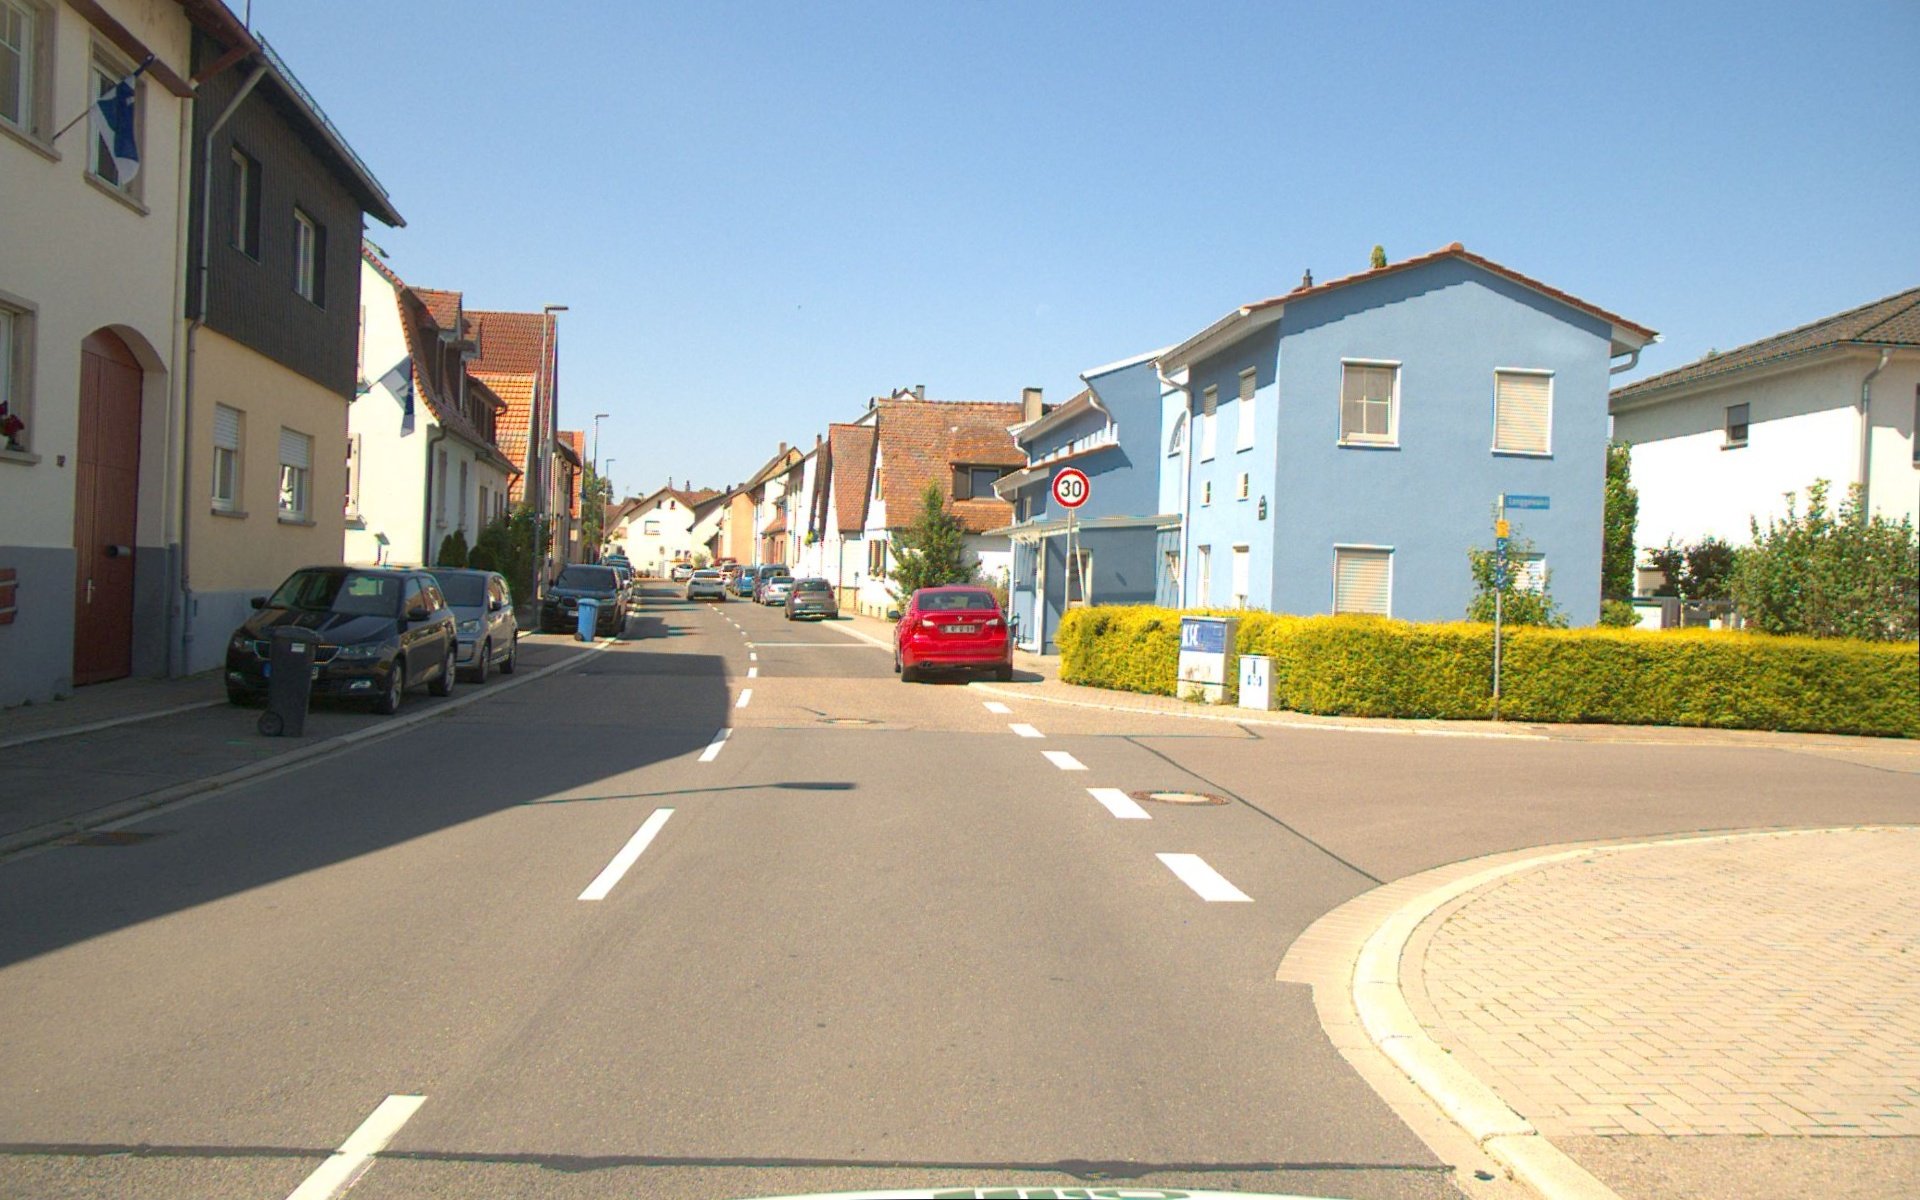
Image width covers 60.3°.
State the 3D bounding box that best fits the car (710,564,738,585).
[{"bbox_3d":[-16.474,-1.766,115.371,1.735,1.458,3.441,1,1,-10],"label":"car"}]

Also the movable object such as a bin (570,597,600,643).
[{"bbox_3d":[-8.464,0.441,37.364,0.585,0.999,0.530,2,0,-10],"label":"movable object such as a bin"}]

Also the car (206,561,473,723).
[{"bbox_3d":[-6.619,0.390,18.093,1.646,1.462,3.991,4,0,-5],"label":"car"}]

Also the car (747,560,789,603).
[{"bbox_3d":[-9.206,-0.901,79.272,1.620,1.943,3.615,2,1,-12],"label":"car"}]

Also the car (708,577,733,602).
[{"bbox_3d":[-15.538,-0.703,107.194,1.395,1.541,3.294,2,1,-12],"label":"car"}]

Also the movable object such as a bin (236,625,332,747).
[{"bbox_3d":[-5.796,0.724,14.208,0.541,0.944,0.823,5,0,-11],"label":"movable object such as a bin"}]

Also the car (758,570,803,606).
[{"bbox_3d":[-8.089,-0.564,74.378,1.674,1.522,3.442,2,1,-12],"label":"car"}]

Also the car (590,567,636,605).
[{"bbox_3d":[-15.383,-0.635,73.482,1.773,1.574,4.393,2,1,-10],"label":"car"}]

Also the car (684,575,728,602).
[{"bbox_3d":[-12.554,-0.578,81.501,1.958,1.310,3.989,1,1,-11],"label":"car"}]

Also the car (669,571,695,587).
[{"bbox_3d":[-22.854,-1.741,135.976,1.958,1.310,3.793,1,1,-11],"label":"car"}]

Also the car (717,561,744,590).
[{"bbox_3d":[-16.705,-1.780,120.276,1.735,2.039,3.441,1,1,-10],"label":"car"}]

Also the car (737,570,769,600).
[{"bbox_3d":[-11.299,-0.822,90.123,1.395,1.541,3.294,2,1,-12],"label":"car"}]

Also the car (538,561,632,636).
[{"bbox_3d":[-9.489,-0.058,42.144,1.884,1.696,4.657,3,0,-8],"label":"car"}]

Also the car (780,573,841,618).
[{"bbox_3d":[-5.284,-0.171,57.976,1.674,1.458,3.878,2,1,-12],"label":"car"}]

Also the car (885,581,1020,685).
[{"bbox_3d":[-0.206,0.483,26.626,1.699,1.520,4.348,0,0,-7],"label":"car"}]

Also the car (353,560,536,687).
[{"bbox_3d":[-7.136,0.288,23.248,1.609,1.527,3.777,4,0,-5],"label":"car"}]
